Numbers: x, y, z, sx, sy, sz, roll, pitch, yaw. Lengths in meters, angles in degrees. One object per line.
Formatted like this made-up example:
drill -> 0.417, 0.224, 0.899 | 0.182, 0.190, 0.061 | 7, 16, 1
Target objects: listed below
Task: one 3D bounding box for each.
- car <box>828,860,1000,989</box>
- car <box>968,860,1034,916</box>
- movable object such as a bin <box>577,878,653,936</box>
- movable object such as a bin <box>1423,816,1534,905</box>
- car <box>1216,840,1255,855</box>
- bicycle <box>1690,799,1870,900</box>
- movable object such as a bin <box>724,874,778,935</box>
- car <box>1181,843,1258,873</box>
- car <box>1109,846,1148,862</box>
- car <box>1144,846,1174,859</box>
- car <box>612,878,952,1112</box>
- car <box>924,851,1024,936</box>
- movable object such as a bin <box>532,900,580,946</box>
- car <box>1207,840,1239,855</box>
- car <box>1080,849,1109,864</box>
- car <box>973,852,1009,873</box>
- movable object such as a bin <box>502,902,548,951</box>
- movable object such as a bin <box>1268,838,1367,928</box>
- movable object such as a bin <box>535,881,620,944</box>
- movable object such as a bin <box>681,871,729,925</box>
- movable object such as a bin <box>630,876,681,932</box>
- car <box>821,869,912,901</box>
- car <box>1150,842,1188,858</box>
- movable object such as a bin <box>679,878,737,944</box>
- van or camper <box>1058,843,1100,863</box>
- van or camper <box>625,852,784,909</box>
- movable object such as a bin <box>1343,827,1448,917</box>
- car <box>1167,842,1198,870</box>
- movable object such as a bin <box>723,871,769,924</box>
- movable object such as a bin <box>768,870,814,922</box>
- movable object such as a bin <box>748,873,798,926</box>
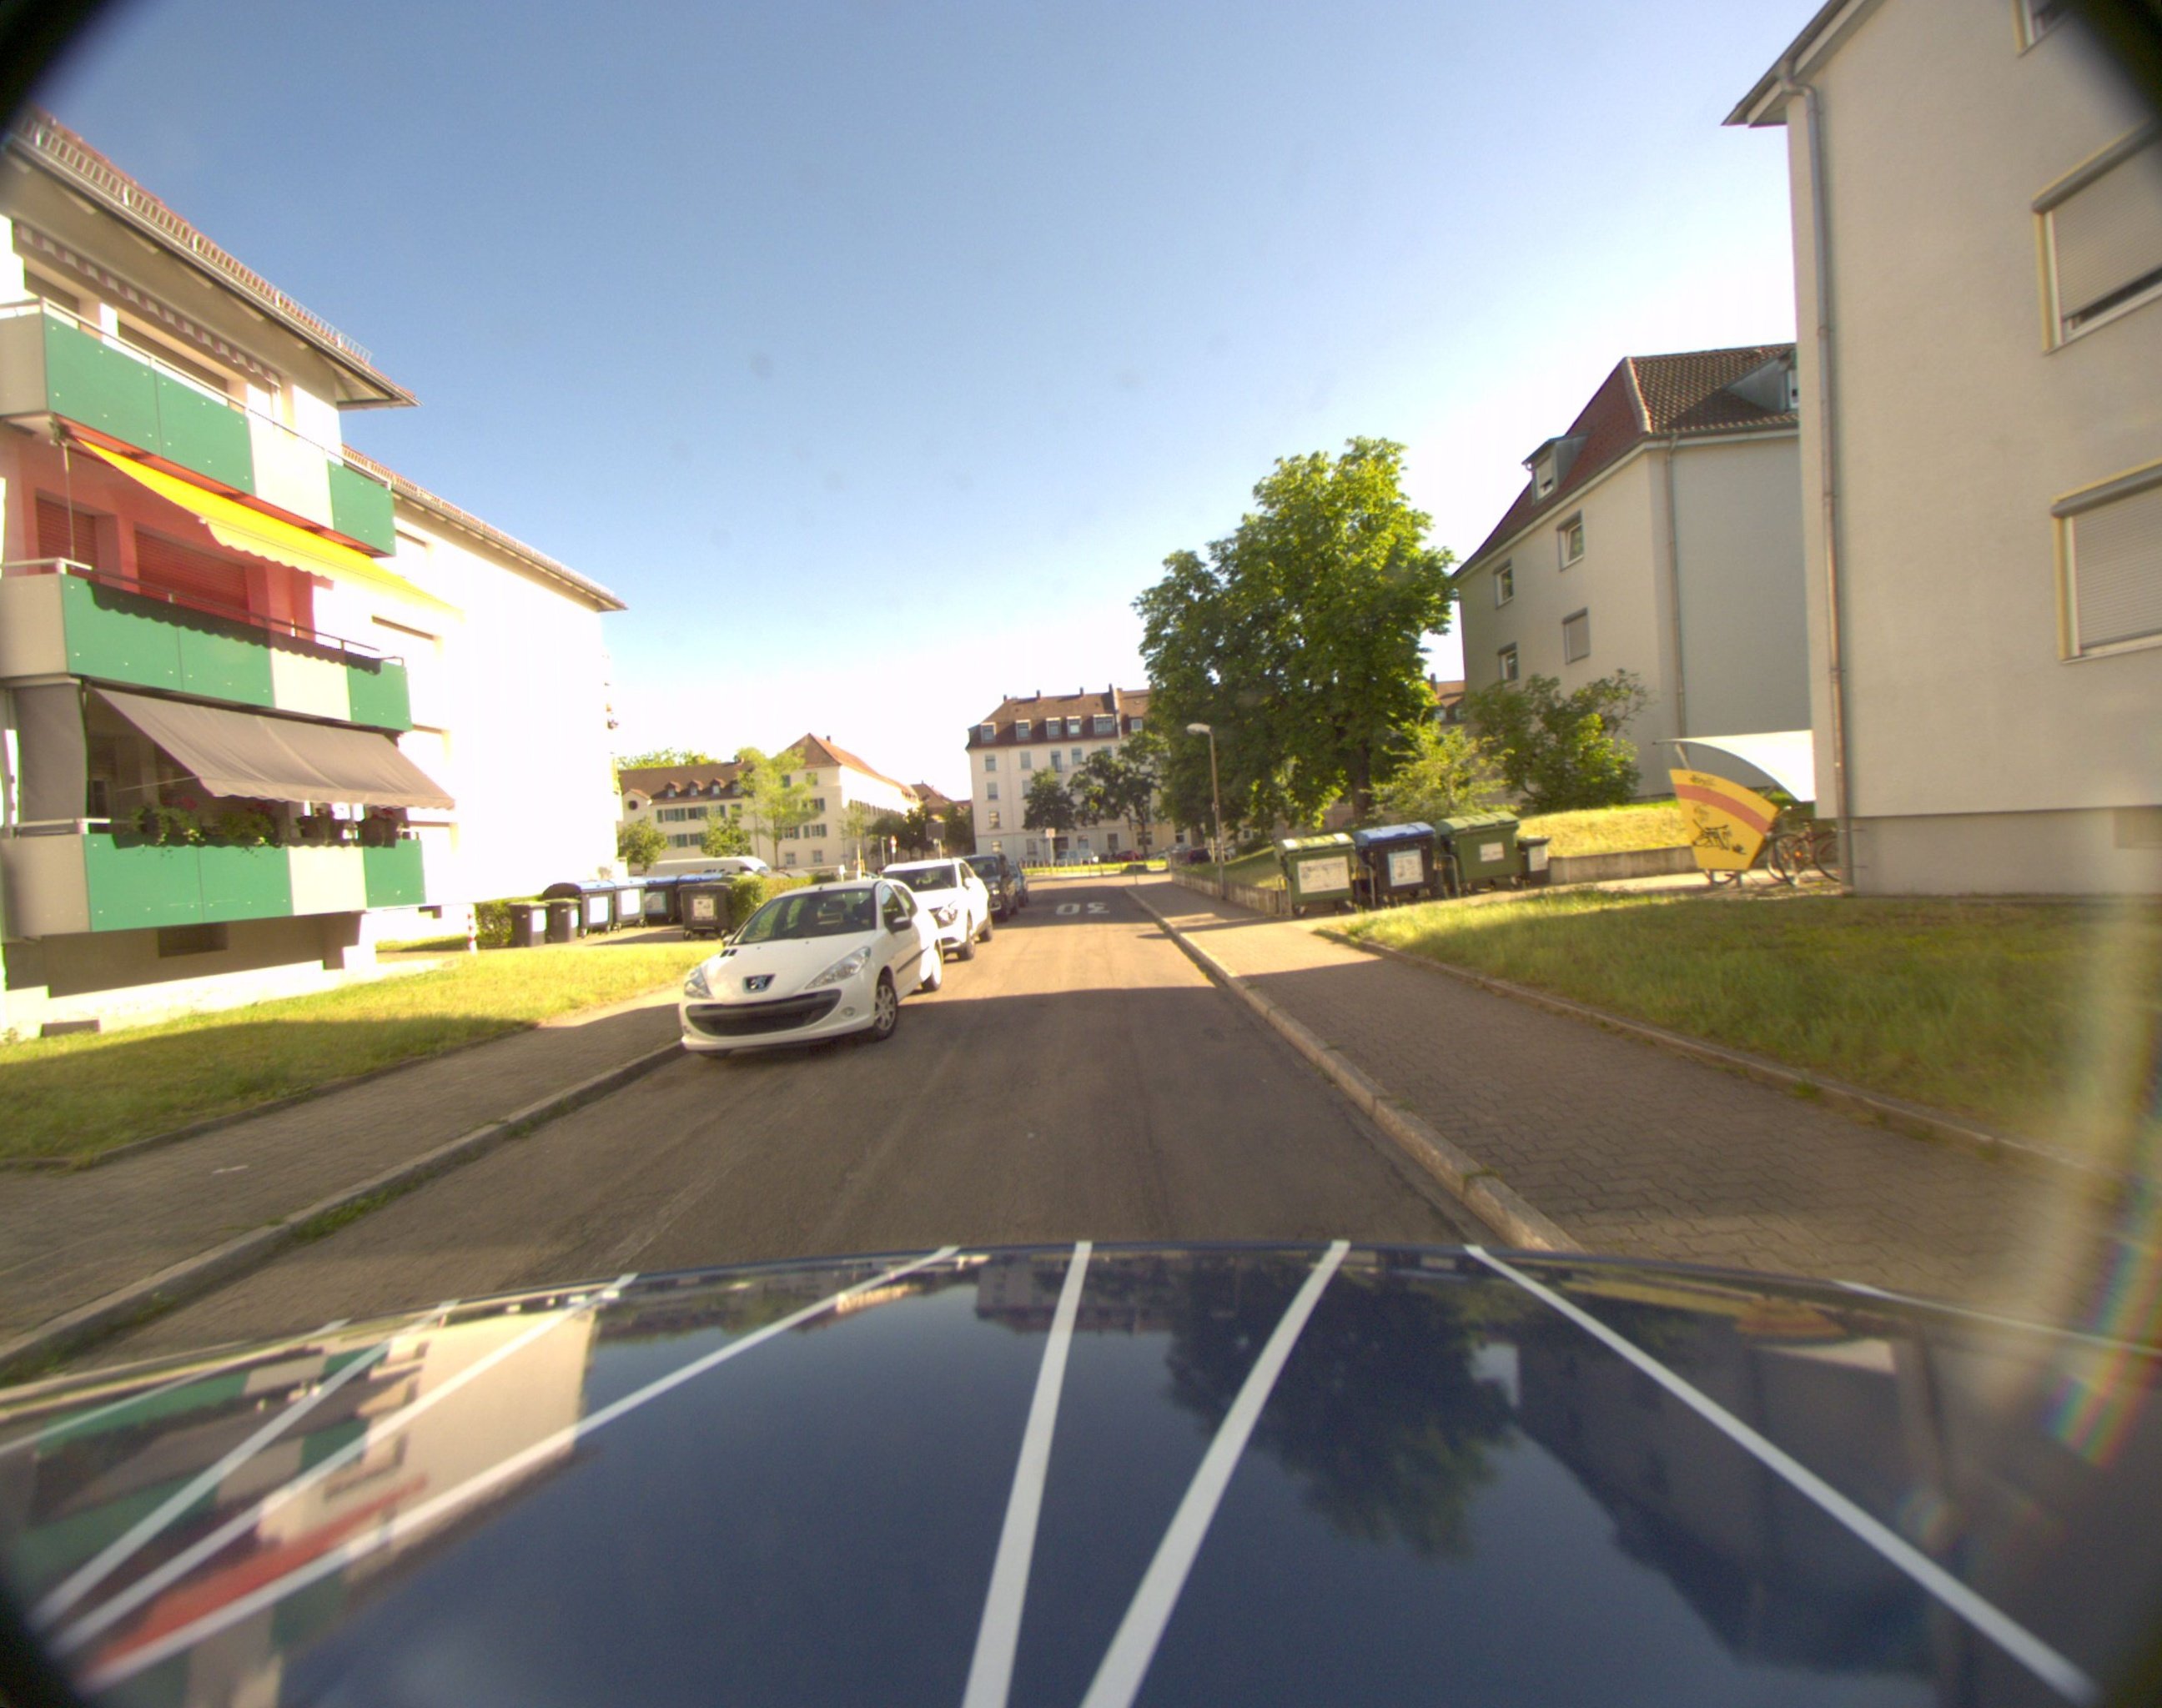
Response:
car -> -2.587, 1.009, 12.966 | 1.805, 1.583, 4.581 | -5, 0, 0
car -> -2.621, 1.072, 25.796 | 1.728, 1.528, 3.951 | -6, 1, -1
movable object such as a bin -> -12.717, 1.423, 20.793 | 1.239, 1.439, 1.278 | -3, 1, -2
movable object such as a bin -> 7.465, 0.108, 14.329 | 1.363, 1.445, 1.073 | -8, 1, 1
car -> 16.152, -0.679, 79.526 | 3.787, 1.437, 1.625 | -3, 1, 2
bicycle -> 9.790, -0.065, 10.770 | 0.641, 1.243, 2.009 | -5, 1, 1
movable object such as a bin -> -8.347, 1.272, 19.269 | 0.921, 1.439, 0.866 | -3, 1, -1
car -> 8.014, 0.198, 44.201 | 4.140, 1.488, 1.729 | -3, 1, 1
car -> 4.943, 0.002, 79.567 | 3.996, 1.477, 1.722 | -3, 1, 2
car -> 8.724, -0.200, 85.157 | 3.192, 1.311, 1.545 | -3, 1, 0
car -> -2.567, 1.116, 7.699 | 1.695, 1.410, 4.097 | -6, 0, 0
car -> -2.690, 0.920, 20.172 | 1.855, 1.790, 4.253 | -7, 1, 0
movable object such as a bin -> -12.590, 1.647, 18.241 | 0.718, 1.047, 0.580 | -1, 1, -2
car -> 15.912, -0.737, 85.243 | 3.192, 1.499, 1.545 | -3, 1, 0
car -> 1.495, 0.271, 85.186 | 3.192, 1.499, 1.545 | -3, 1, 0
car -> -6.817, 0.640, 57.051 | 1.674, 1.433, 3.794 | -3, 1, -22
movable object such as a bin -> -12.817, 1.664, 17.528 | 0.628, 1.047, 0.580 | -1, 1, -2
movable object such as a bin -> 4.403, 0.517, 14.267 | 1.318, 1.451, 1.198 | -8, 1, 1
movable object such as a bin -> -12.805, 1.472, 19.385 | 1.239, 1.439, 1.278 | -3, 1, -2
movable object such as a bin -> -10.785, 1.251, 21.807 | 0.866, 1.439, 0.922 | -3, 1, -3
movable object such as a bin -> -12.268, 1.416, 21.945 | 0.866, 1.511, 0.922 | -3, 1, -1
car -> -10.769, 1.545, 38.341 | 3.996, 1.342, 1.802 | -3, 1, 2
car -> 9.230, -0.399, 79.496 | 3.787, 1.437, 1.625 | -3, 1, 2
movable object such as a bin -> -8.752, 1.314, 17.863 | 0.866, 1.439, 0.922 | -3, 1, -3
van or camper -> -0.235, -0.129, 79.935 | 4.355, 1.852, 1.999 | -3, 1, -1
van or camper -> -19.219, 1.343, 38.999 | 6.980, 2.486, 2.177 | -3, 1, 2
movable object such as a bin -> 5.885, 0.319, 14.321 | 1.358, 1.451, 1.082 | -8, 1, 1
car -> 6.271, 0.109, 47.373 | 1.678, 1.645, 3.305 | -3, 1, 5
movable object such as a bin -> -9.673, 1.232, 21.949 | 0.866, 1.439, 0.922 | -3, 1, -3
movable object such as a bin -> -8.285, 1.184, 21.738 | 0.921, 1.390, 0.866 | -3, 1, -1
movable object such as a bin -> -8.299, 1.220, 20.512 | 0.921, 1.318, 0.866 | -3, 1, -1
